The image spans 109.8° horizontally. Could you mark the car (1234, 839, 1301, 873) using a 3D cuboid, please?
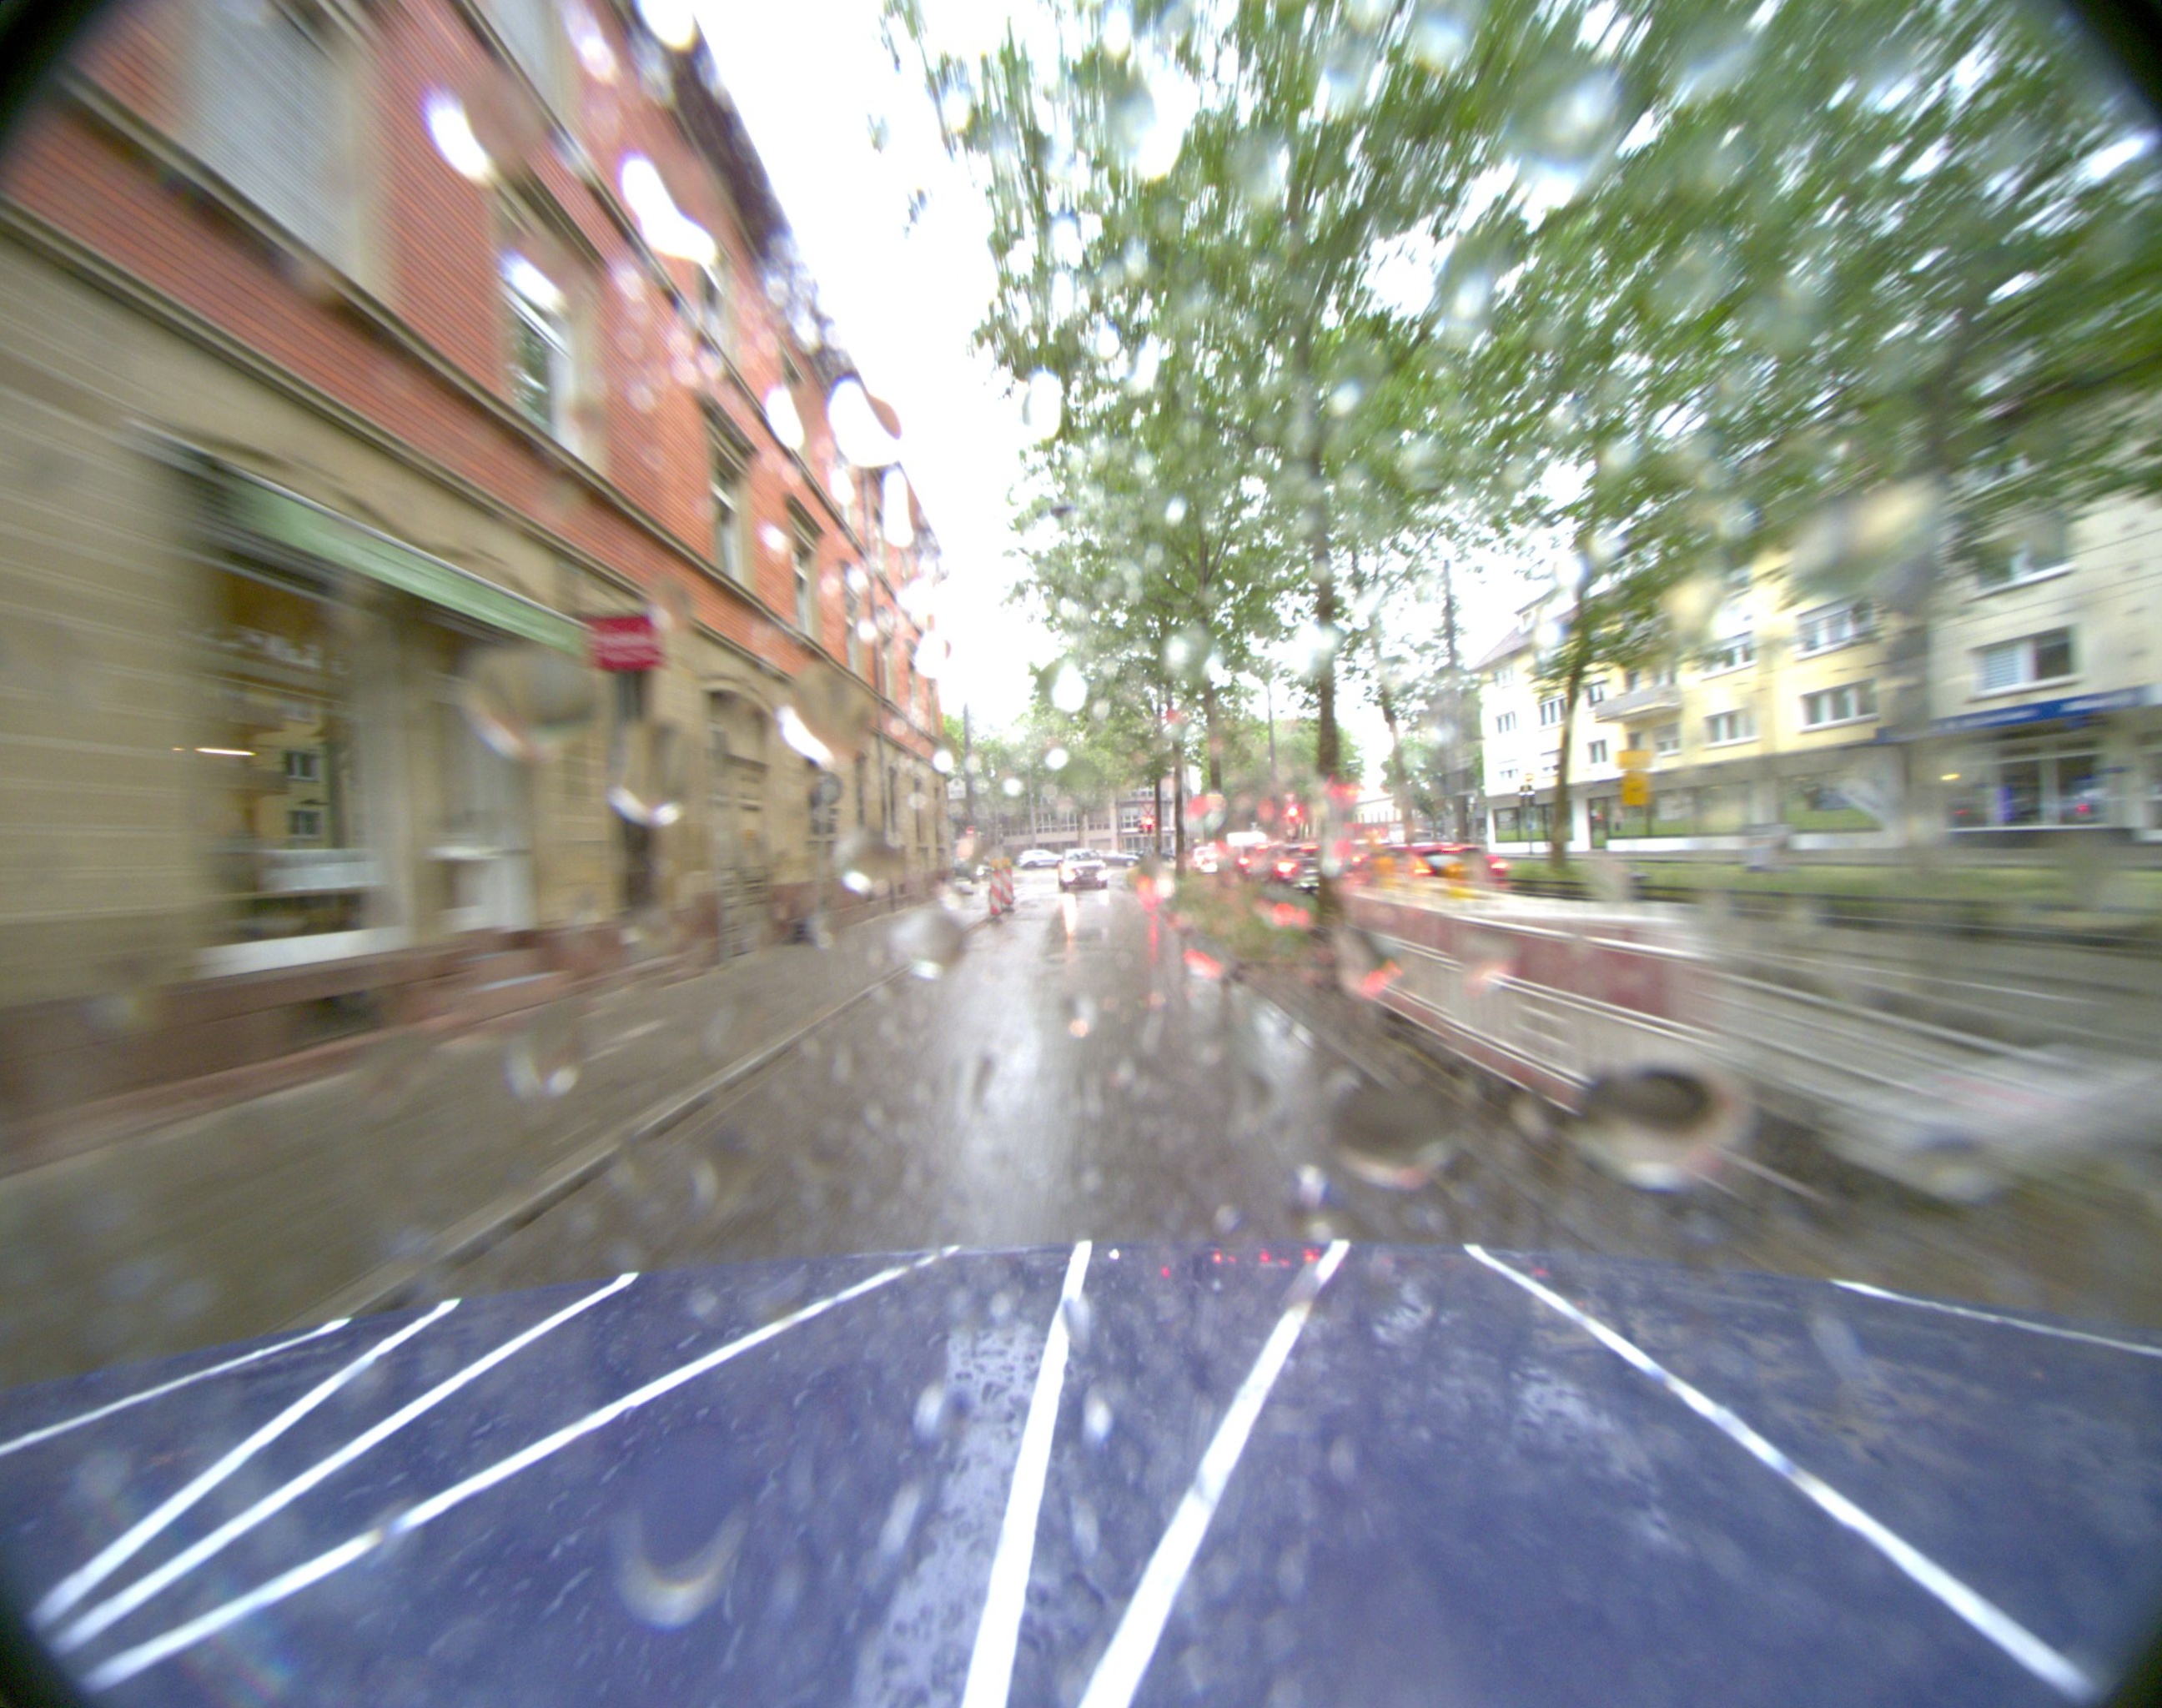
[{"bbox_3d":[8.987,0.090,37.070,1.879,1.493,4.282,-3,0,-4],"label":"car"}]

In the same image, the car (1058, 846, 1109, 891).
[{"bbox_3d":[0.034,0.566,33.193,1.913,1.637,4.678,-3,2,-2],"label":"car"}]

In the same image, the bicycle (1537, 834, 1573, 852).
[{"bbox_3d":[24.758,-0.590,39.763,0.613,0.891,2.046,-3,1,1],"label":"bicycle"}]

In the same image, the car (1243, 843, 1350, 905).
[{"bbox_3d":[5.887,0.492,21.320,1.745,1.471,4.431,-3,0,1],"label":"car"}]

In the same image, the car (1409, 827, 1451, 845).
[{"bbox_3d":[43.348,-2.210,94.417,4.389,2.002,2.069,-3,2,17],"label":"car"}]

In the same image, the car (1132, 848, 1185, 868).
[{"bbox_3d":[7.087,0.368,69.544,4.562,1.505,1.783,-4,2,-27],"label":"car"}]

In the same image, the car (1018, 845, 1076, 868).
[{"bbox_3d":[-2.889,0.212,64.537,4.560,1.650,1.784,-4,2,-20],"label":"car"}]

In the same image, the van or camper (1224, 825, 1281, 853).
[{"bbox_3d":[17.327,-1.503,76.529,5.980,2.457,2.176,-4,2,-39],"label":"van or camper"}]

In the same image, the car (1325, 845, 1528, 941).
[{"bbox_3d":[6.031,0.598,13.889,1.746,1.389,4.233,-3,0,1],"label":"car"}]

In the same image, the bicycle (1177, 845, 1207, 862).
[{"bbox_3d":[8.534,-0.034,58.452,1.998,1.081,0.819,-4,-4,-7],"label":"bicycle"}]

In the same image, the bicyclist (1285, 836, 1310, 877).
[{"bbox_3d":[9.404,0.102,33.000,0.714,1.706,0.889,-3,2,-3],"label":"bicyclist"}]

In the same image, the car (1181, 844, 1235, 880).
[{"bbox_3d":[5.901,0.340,35.803,1.739,1.480,4.500,-3,0,1],"label":"car"}]

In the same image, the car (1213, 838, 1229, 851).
[{"bbox_3d":[19.563,-1.326,105.865,2.001,1.762,4.003,-2,1,13],"label":"car"}]

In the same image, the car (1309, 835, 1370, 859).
[{"bbox_3d":[21.125,-0.583,62.151,4.266,1.732,1.975,-3,2,-6],"label":"car"}]

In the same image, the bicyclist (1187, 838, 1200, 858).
[{"bbox_3d":[8.654,-0.457,58.517,0.805,1.462,0.927,-2,2,-7],"label":"bicyclist"}]

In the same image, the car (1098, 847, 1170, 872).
[{"bbox_3d":[4.167,0.418,60.073,5.337,1.583,1.947,-4,0,-11],"label":"car"}]

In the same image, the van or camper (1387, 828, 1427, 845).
[{"bbox_3d":[43.956,-2.378,102.566,4.648,2.063,2.001,-2,1,10],"label":"van or camper"}]

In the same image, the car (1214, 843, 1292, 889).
[{"bbox_3d":[6.383,0.398,28.672,1.861,1.476,4.640,-3,0,1],"label":"car"}]

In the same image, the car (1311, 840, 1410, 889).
[{"bbox_3d":[9.192,0.308,25.355,1.745,1.389,4.130,-3,0,1],"label":"car"}]
